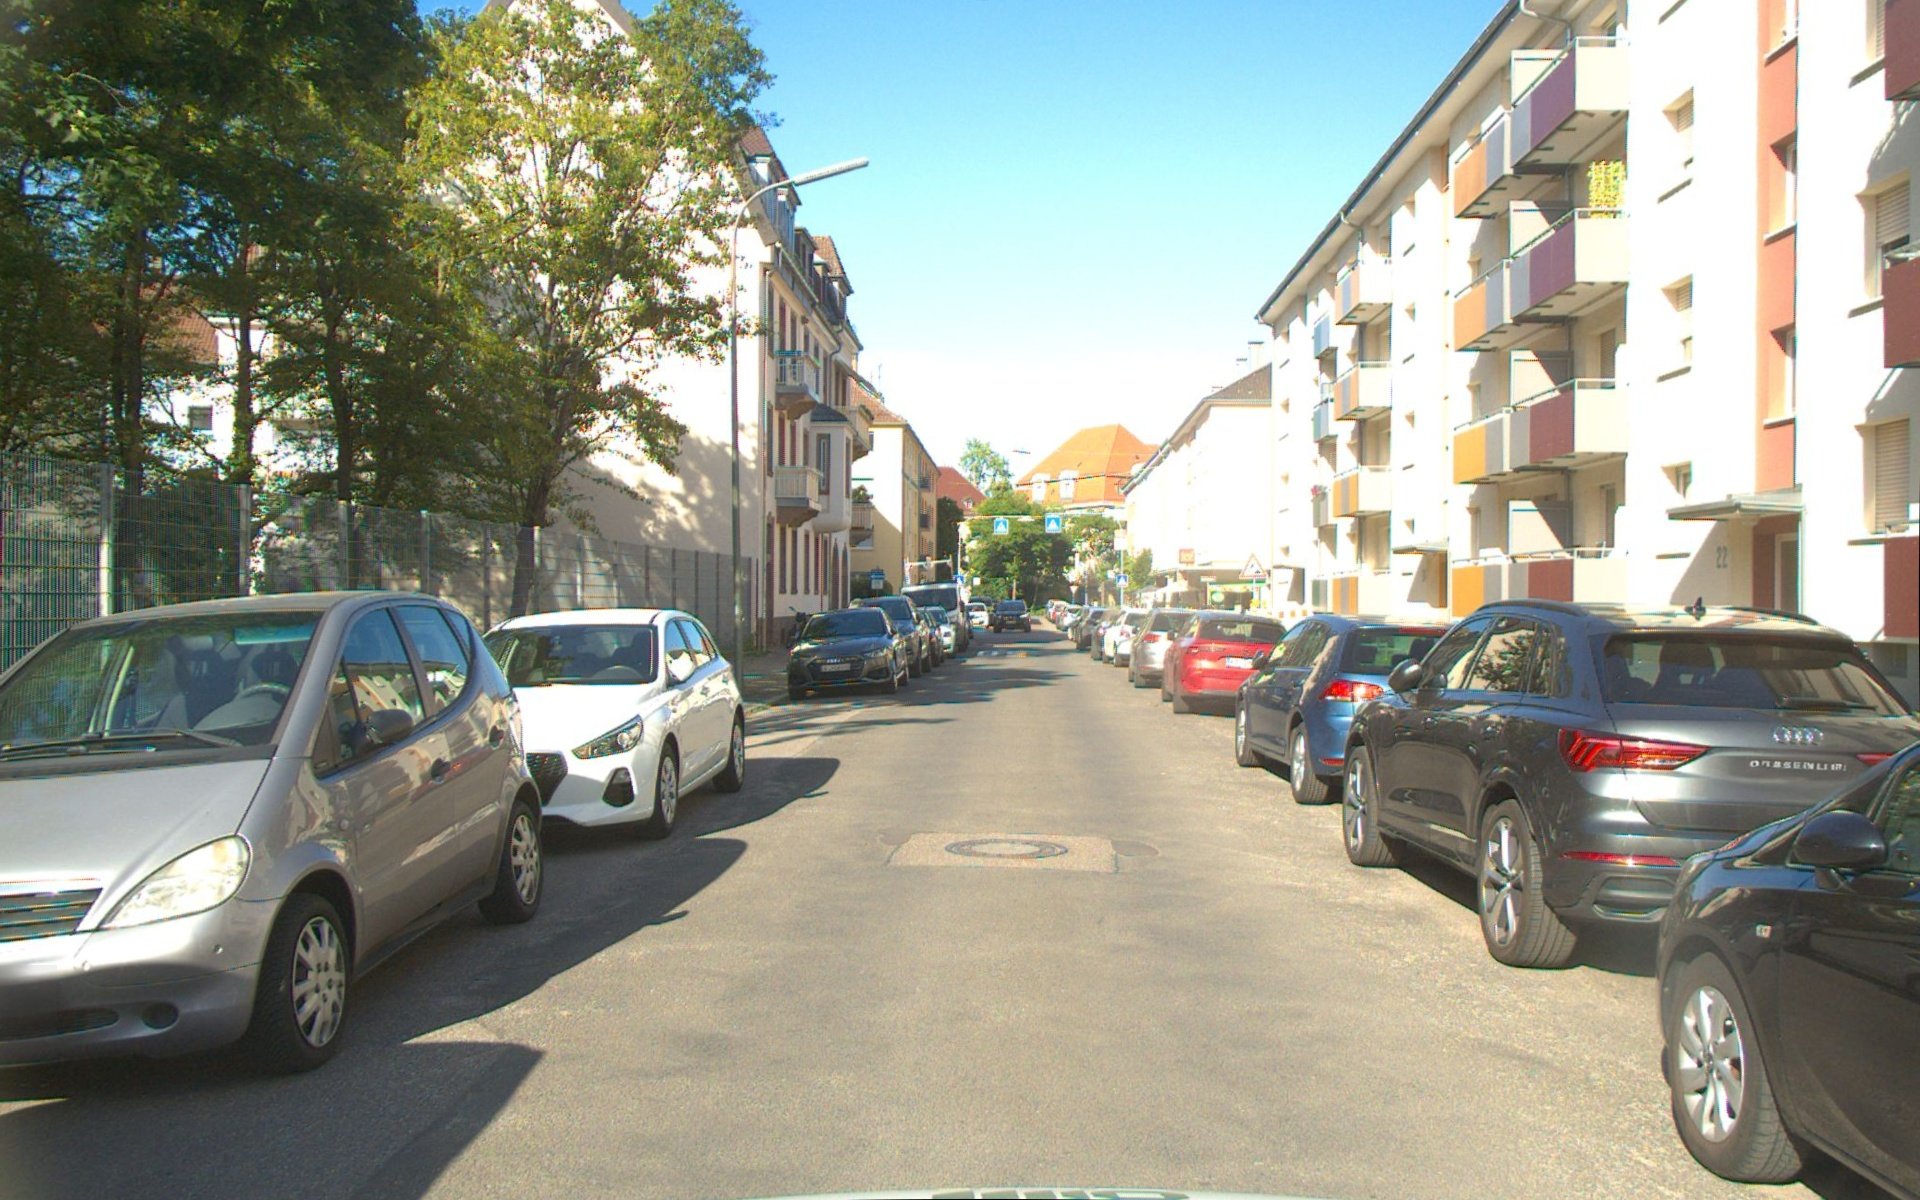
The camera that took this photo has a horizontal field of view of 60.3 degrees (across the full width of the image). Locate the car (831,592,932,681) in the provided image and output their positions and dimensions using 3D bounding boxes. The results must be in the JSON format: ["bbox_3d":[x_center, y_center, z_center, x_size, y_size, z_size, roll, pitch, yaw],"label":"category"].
[{"bbox_3d":[-1.588,0.738,35.059,1.840,1.693,4.931,-2,0,0],"label":"car"}]

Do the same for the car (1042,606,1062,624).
[{"bbox_3d":[7.658,1.224,137.901,1.604,1.466,3.419,0,0,1],"label":"car"}]

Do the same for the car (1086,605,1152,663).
[{"bbox_3d":[4.506,0.950,47.295,1.653,1.492,3.584,3,0,3],"label":"car"}]

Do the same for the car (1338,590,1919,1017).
[{"bbox_3d":[3.268,0.785,8.354,1.716,1.586,4.254,1,0,0],"label":"car"}]

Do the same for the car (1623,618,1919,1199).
[{"bbox_3d":[2.856,0.808,3.318,1.572,1.510,3.798,1,0,1],"label":"car"}]

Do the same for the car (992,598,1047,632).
[{"bbox_3d":[2.981,0.709,82.223,1.783,1.662,4.259,0,0,16],"label":"car"}]

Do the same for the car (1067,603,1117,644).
[{"bbox_3d":[4.972,0.895,62.585,1.611,1.485,3.940,1,-1,1],"label":"car"}]

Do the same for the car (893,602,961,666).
[{"bbox_3d":[-0.904,0.931,47.615,1.756,1.567,4.641,-5,0,0],"label":"car"}]

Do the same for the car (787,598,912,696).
[{"bbox_3d":[-1.825,0.766,28.522,1.757,1.496,4.502,-2,0,1],"label":"car"}]

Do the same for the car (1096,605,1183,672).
[{"bbox_3d":[4.556,0.961,42.525,1.652,1.488,3.819,6,-1,-1],"label":"car"}]

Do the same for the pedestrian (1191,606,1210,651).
[{"bbox_3d":[7.899,0.918,54.300,0.563,1.458,0.472,-1,0,4],"label":"pedestrian"}]

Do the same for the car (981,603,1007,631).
[{"bbox_3d":[2.281,1.113,111.246,1.662,1.810,4.100,0,0,2],"label":"car"}]

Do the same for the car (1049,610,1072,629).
[{"bbox_3d":[7.716,1.481,126.936,1.604,1.466,3.419,0,0,1],"label":"car"}]

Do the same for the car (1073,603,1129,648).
[{"bbox_3d":[4.806,0.859,56.859,1.754,1.497,4.340,0,0,3],"label":"car"}]

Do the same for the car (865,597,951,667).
[{"bbox_3d":[-1.232,0.777,41.119,1.754,1.590,4.461,1,-1,3],"label":"car"}]

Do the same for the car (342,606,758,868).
[{"bbox_3d":[-2.634,0.808,11.656,1.757,1.470,4.120,-2,0,2],"label":"car"}]

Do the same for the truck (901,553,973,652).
[{"bbox_3d":[-0.772,0.114,54.545,2.213,3.038,7.274,0,-1,-1],"label":"truck"}]

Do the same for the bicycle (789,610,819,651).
[{"bbox_3d":[-4.836,0.943,51.514,0.616,1.225,2.341,0,0,2],"label":"bicycle"}]

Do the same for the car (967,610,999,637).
[{"bbox_3d":[1.418,1.400,100.110,1.754,1.506,4.100,-1,0,2],"label":"car"}]

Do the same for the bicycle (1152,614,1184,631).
[{"bbox_3d":[12.438,1.342,98.872,1.772,0.984,0.672,0,0,-8],"label":"bicycle"}]

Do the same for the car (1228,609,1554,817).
[{"bbox_3d":[3.508,0.849,14.234,1.716,1.507,4.079,1,0,0],"label":"car"}]

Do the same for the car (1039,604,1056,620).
[{"bbox_3d":[8.535,1.158,161.490,1.604,1.466,3.419,0,0,1],"label":"car"}]

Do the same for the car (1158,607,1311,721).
[{"bbox_3d":[3.840,0.844,23.762,1.715,1.469,4.525,0,0,4],"label":"car"}]

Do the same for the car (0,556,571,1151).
[{"bbox_3d":[-2.805,0.766,6.582,1.532,1.672,3.616,-3,0,1],"label":"car"}]

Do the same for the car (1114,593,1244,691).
[{"bbox_3d":[4.012,0.744,30.969,1.859,1.650,4.602,1,0,1],"label":"car"}]

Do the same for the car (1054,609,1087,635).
[{"bbox_3d":[6.337,1.266,95.260,1.807,1.466,3.419,0,0,2],"label":"car"}]

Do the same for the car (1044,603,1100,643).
[{"bbox_3d":[4.608,0.964,68.363,1.816,1.550,4.775,1,-1,-2],"label":"car"}]

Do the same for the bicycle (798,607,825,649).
[{"bbox_3d":[-4.880,0.909,54.443,0.557,1.301,2.341,0,0,2],"label":"bicycle"}]
